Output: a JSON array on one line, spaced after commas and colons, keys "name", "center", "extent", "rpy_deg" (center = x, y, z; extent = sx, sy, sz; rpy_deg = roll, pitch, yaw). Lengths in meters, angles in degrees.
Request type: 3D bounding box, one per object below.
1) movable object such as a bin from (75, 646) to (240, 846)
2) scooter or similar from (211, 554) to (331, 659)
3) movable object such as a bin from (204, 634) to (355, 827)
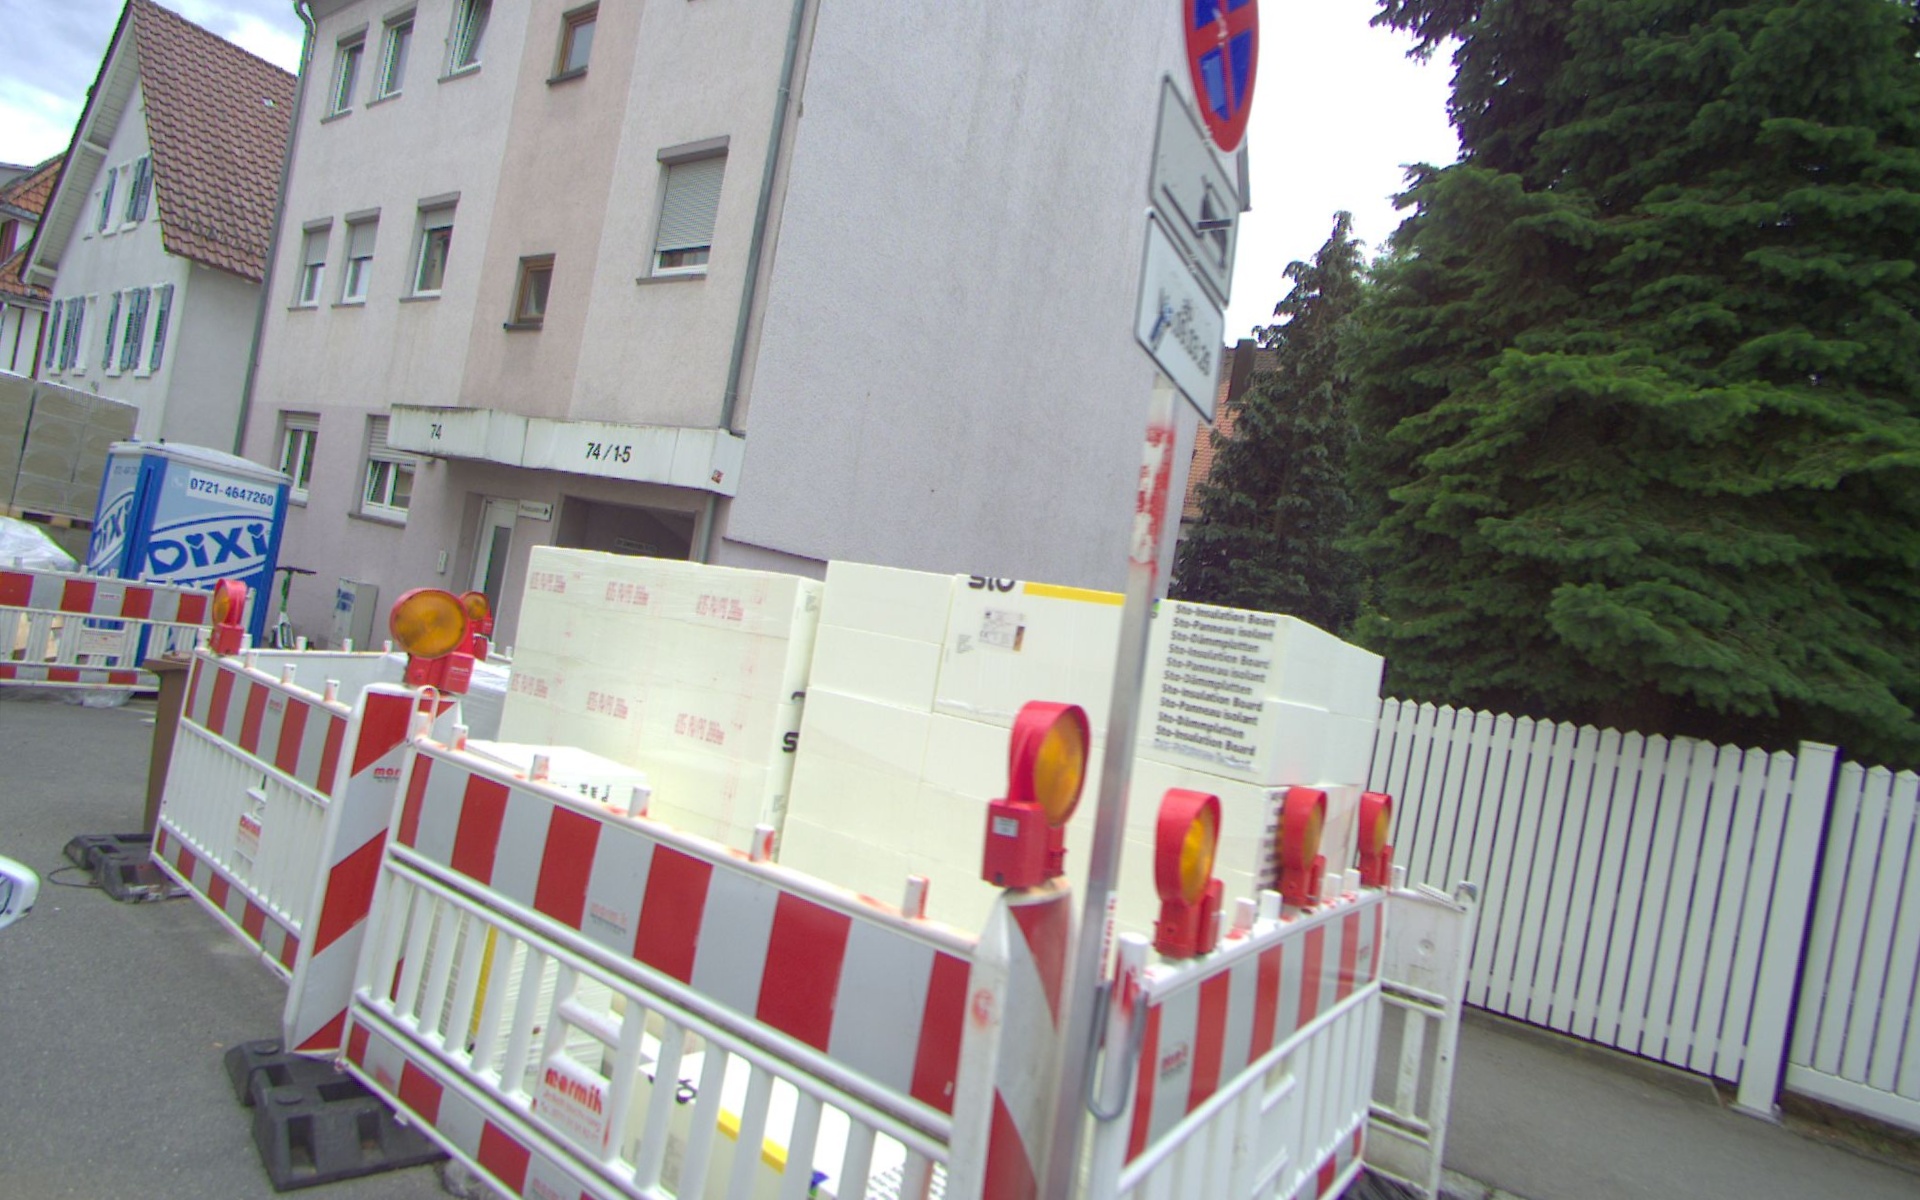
[{"name": "movable object such as a bin", "center": [-3.985, 0.714, 5.020], "extent": [0.395, 0.902, 0.362], "rpy_deg": [11, -3, -16]}, {"name": "scooter or similar", "center": [-9.318, 0.079, 13.585], "extent": [1.738, 1.169, 0.643], "rpy_deg": [8, -1, 35]}, {"name": "movable object such as a bin", "center": [-3.834, 0.716, 5.690], "extent": [0.393, 0.989, 0.450], "rpy_deg": [10, 1, 12]}]
